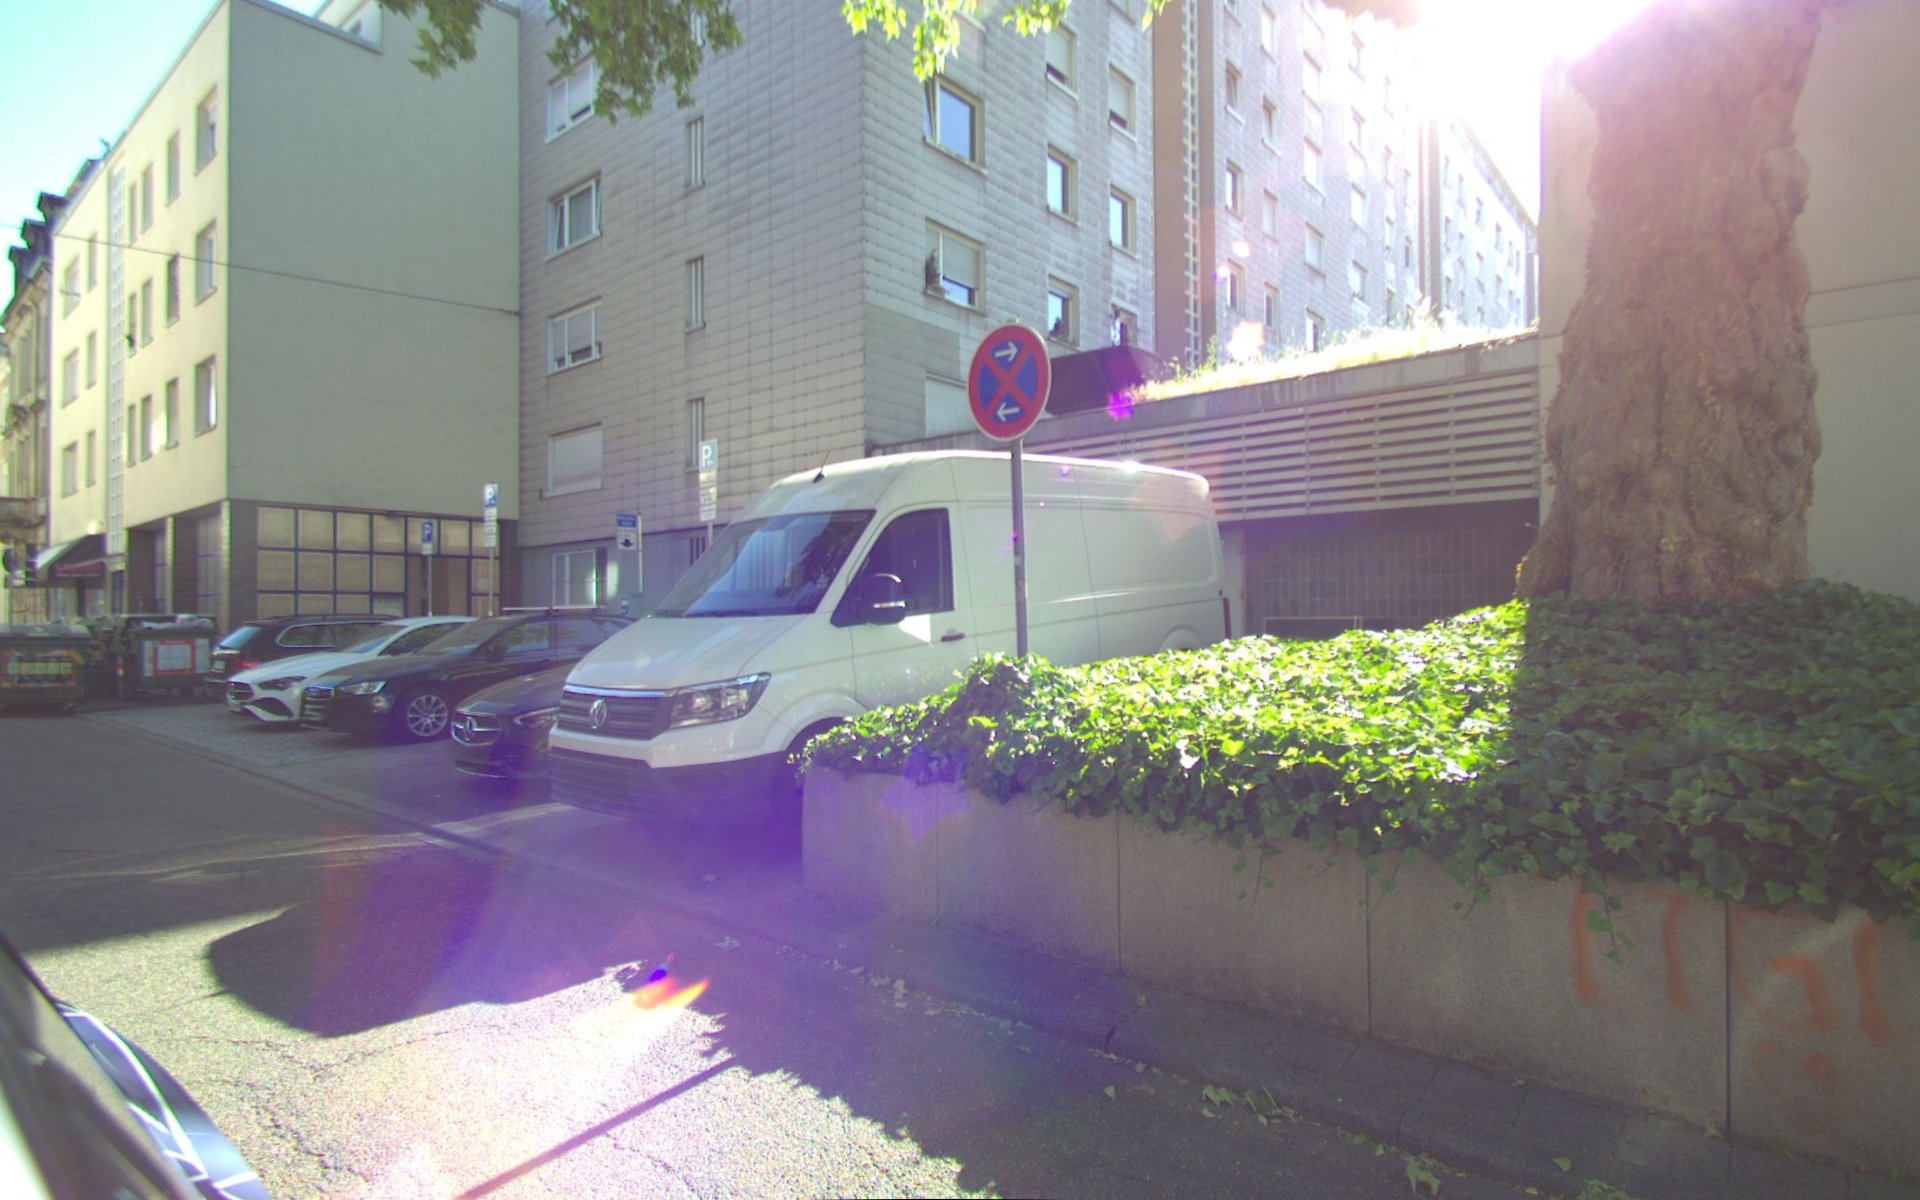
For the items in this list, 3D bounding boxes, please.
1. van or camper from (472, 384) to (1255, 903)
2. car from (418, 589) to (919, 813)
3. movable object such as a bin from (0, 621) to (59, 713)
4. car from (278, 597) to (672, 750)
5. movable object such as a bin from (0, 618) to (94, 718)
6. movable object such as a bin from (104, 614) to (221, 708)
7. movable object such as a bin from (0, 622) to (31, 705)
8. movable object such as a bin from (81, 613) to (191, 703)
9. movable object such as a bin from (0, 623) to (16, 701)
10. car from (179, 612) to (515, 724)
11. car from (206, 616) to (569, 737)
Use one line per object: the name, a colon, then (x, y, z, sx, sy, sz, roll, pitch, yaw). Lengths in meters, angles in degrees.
van or camper: (-0.037, 0.095, 8.306, 1.999, 2.593, 6.835, -2, 1, 41)
car: (-2.478, 0.738, 9.600, 1.697, 1.545, 4.361, -2, 0, 39)
movable object such as a bin: (-16.552, 1.135, 17.427, 1.923, 1.512, 1.231, -2, -2, 38)
car: (-6.026, 0.826, 13.112, 1.694, 1.629, 4.367, -2, -2, 34)
movable object such as a bin: (-14.953, 1.064, 16.288, 1.876, 1.512, 1.225, -2, -3, 40)
movable object such as a bin: (-13.492, 0.994, 17.139, 1.193, 1.512, 1.312, -2, -2, 38)
movable object such as a bin: (-18.186, 1.169, 18.746, 1.558, 1.512, 1.207, -2, -2, 38)
movable object such as a bin: (-14.629, 0.993, 17.972, 1.515, 1.512, 1.207, -2, -2, 38)
movable object such as a bin: (-19.434, 1.216, 19.779, 1.558, 1.512, 1.207, -2, -2, 38)
car: (-9.711, 0.996, 16.384, 1.694, 1.545, 4.367, -2, -2, 34)
car: (-8.080, 0.995, 14.717, 1.595, 1.474, 4.367, -2, -2, 34)
